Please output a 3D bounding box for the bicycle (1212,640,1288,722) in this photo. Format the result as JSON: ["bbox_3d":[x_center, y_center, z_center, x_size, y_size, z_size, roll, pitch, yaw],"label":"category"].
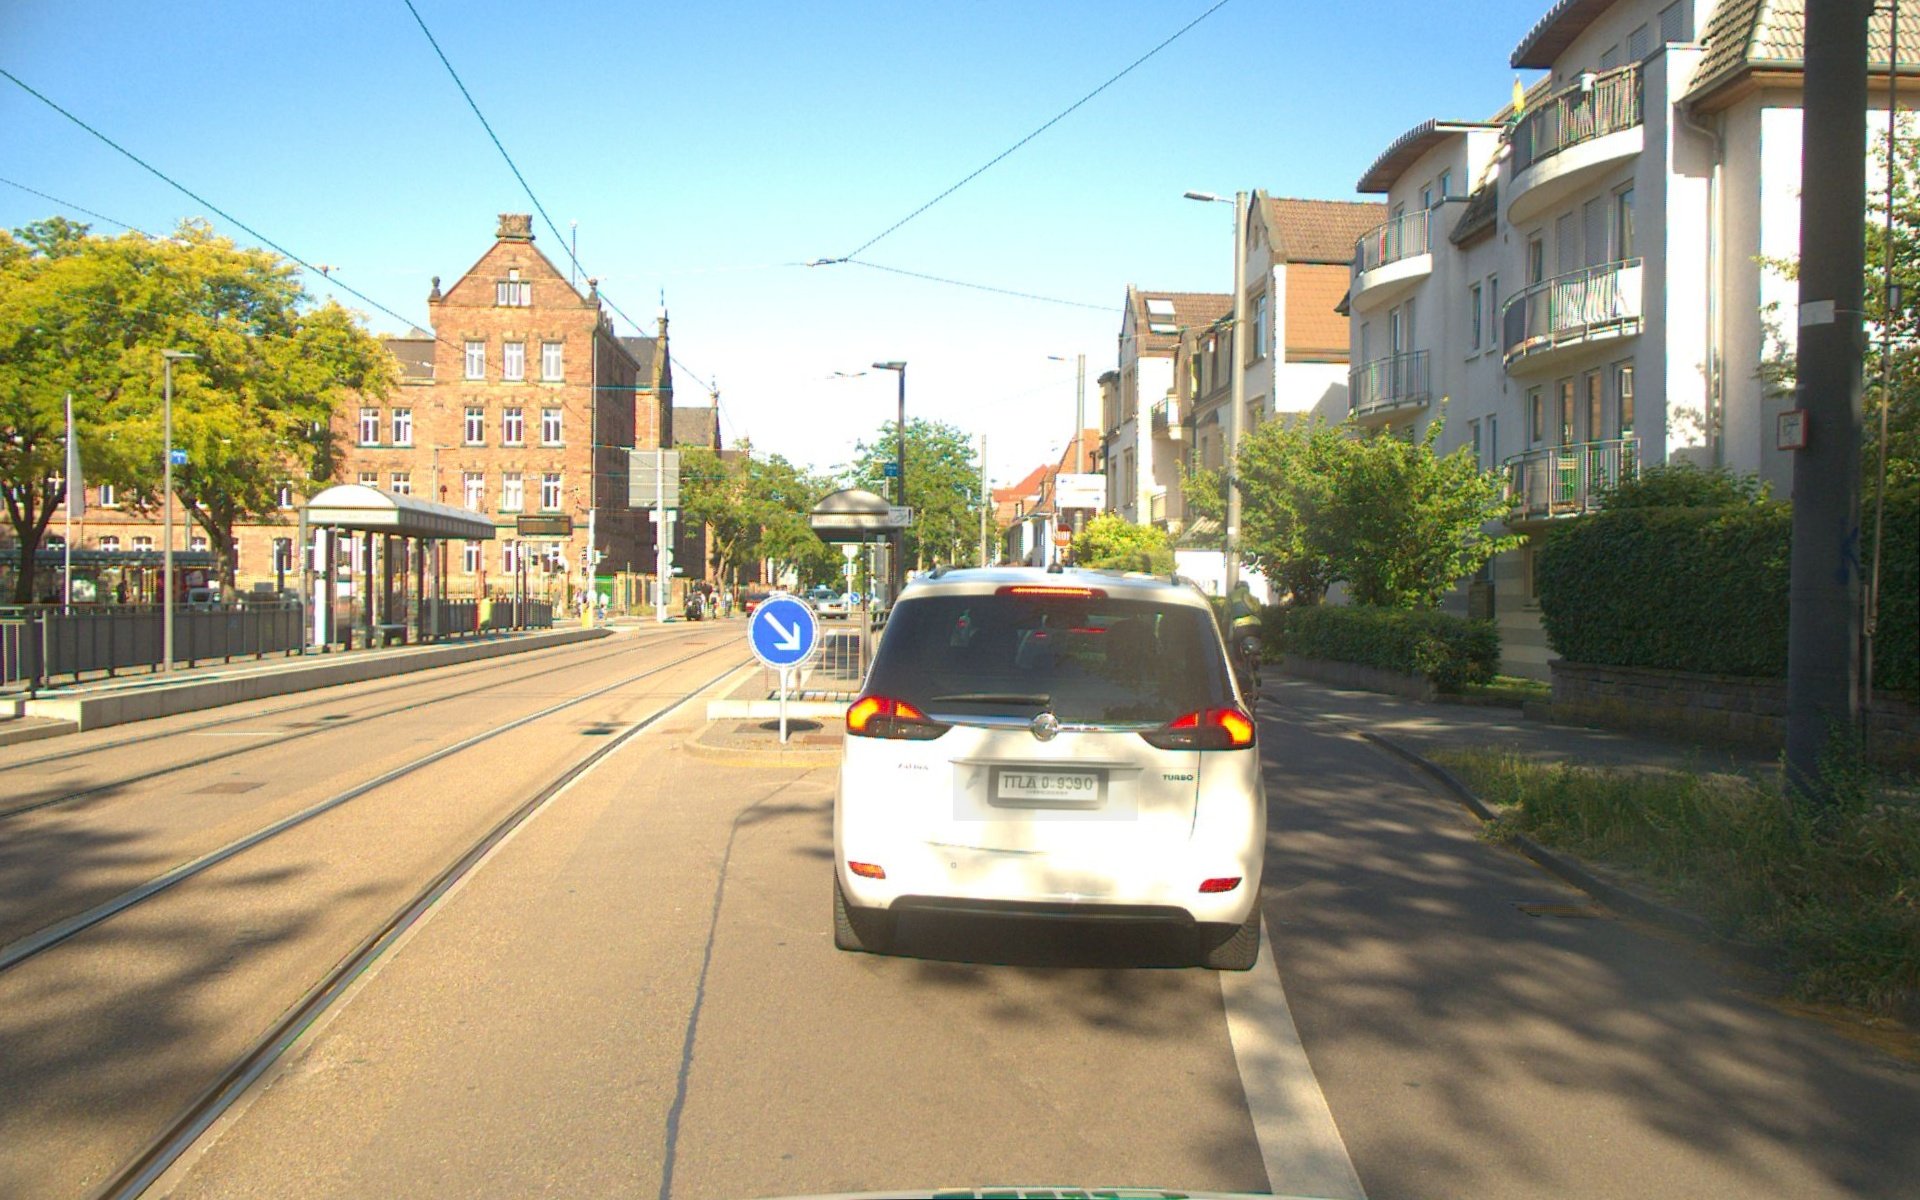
[{"bbox_3d":[3.713,1.020,21.293,0.662,0.941,1.885,0,0,1],"label":"bicycle"}]

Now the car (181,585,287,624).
[{"bbox_3d":[-32.381,0.216,73.848,3.908,1.658,1.817,1,0,-4],"label":"car"}]

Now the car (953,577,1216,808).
[{"bbox_3d":[1.103,0.643,13.785,1.866,1.625,4.003,0,0,6],"label":"car"}]

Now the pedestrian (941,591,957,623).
[{"bbox_3d":[-0.686,0.432,102.069,0.791,1.934,0.744,1,-1,16],"label":"pedestrian"}]

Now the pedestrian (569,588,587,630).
[{"bbox_3d":[-19.108,0.459,82.730,0.781,2.049,1.042,1,-1,-15],"label":"pedestrian"}]

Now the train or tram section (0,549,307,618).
[{"bbox_3d":[-40.681,-0.762,79.454,17.048,3.210,3.344,0,0,-6],"label":"train or tram section"}]

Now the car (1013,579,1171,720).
[{"bbox_3d":[1.787,0.577,21.636,1.866,1.653,4.003,0,0,6],"label":"car"}]

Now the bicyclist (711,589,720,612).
[{"bbox_3d":[-15.895,0.029,107.595,0.520,1.503,0.572,1,-1,-1],"label":"bicyclist"}]

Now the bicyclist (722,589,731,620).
[{"bbox_3d":[-15.206,0.287,107.518,0.478,2.049,0.502,1,-1,-1],"label":"bicyclist"}]

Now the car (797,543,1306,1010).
[{"bbox_3d":[0.545,0.628,8.086,1.866,1.690,4.003,0,0,6],"label":"car"}]

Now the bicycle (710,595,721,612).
[{"bbox_3d":[-15.921,0.238,107.725,0.498,1.096,1.738,1,0,-1],"label":"bicycle"}]

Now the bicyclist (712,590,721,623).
[{"bbox_3d":[-15.234,0.422,103.425,0.488,2.049,0.572,1,-1,-1],"label":"bicyclist"}]

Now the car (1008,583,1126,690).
[{"bbox_3d":[1.831,0.566,28.297,1.867,1.690,4.002,0,0,4],"label":"car"}]

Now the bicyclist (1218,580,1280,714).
[{"bbox_3d":[3.711,0.594,21.271,0.662,1.687,0.745,0,0,0],"label":"bicyclist"}]

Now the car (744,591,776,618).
[{"bbox_3d":[-13.549,0.315,112.314,1.711,1.746,3.999,1,0,-1],"label":"car"}]

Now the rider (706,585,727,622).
[{"bbox_3d":[-12.424,0.187,84.483,0.779,1.813,2.486,1,0,-2],"label":"rider"}]

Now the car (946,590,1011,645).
[{"bbox_3d":[0.557,0.536,53.094,1.869,1.690,3.998,0,0,-2],"label":"car"}]

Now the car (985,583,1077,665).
[{"bbox_3d":[1.492,0.490,36.130,1.868,1.690,4.000,0,0,0],"label":"car"}]

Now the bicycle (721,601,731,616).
[{"bbox_3d":[-15.206,0.559,107.482,0.477,0.988,1.405,1,0,-1],"label":"bicycle"}]

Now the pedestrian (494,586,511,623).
[{"bbox_3d":[-22.519,0.237,81.409,0.754,1.805,0.717,1,-1,-17],"label":"pedestrian"}]

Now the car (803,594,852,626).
[{"bbox_3d":[-7.426,0.563,92.431,1.720,1.746,3.977,1,0,-20],"label":"car"}]

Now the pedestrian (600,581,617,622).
[{"bbox_3d":[-18.012,0.071,84.713,0.782,2.049,0.717,1,-1,-18],"label":"pedestrian"}]

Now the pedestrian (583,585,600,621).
[{"bbox_3d":[-20.763,0.171,93.137,0.675,2.049,0.618,1,-1,17],"label":"pedestrian"}]

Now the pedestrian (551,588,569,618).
[{"bbox_3d":[-21.938,0.162,90.703,0.642,1.640,0.709,1,-1,31],"label":"pedestrian"}]

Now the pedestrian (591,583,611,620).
[{"bbox_3d":[-19.972,0.074,92.013,0.708,2.049,0.792,0,-1,45],"label":"pedestrian"}]

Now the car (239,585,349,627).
[{"bbox_3d":[-28.052,0.262,69.773,3.908,1.658,1.817,1,0,-4],"label":"car"}]
